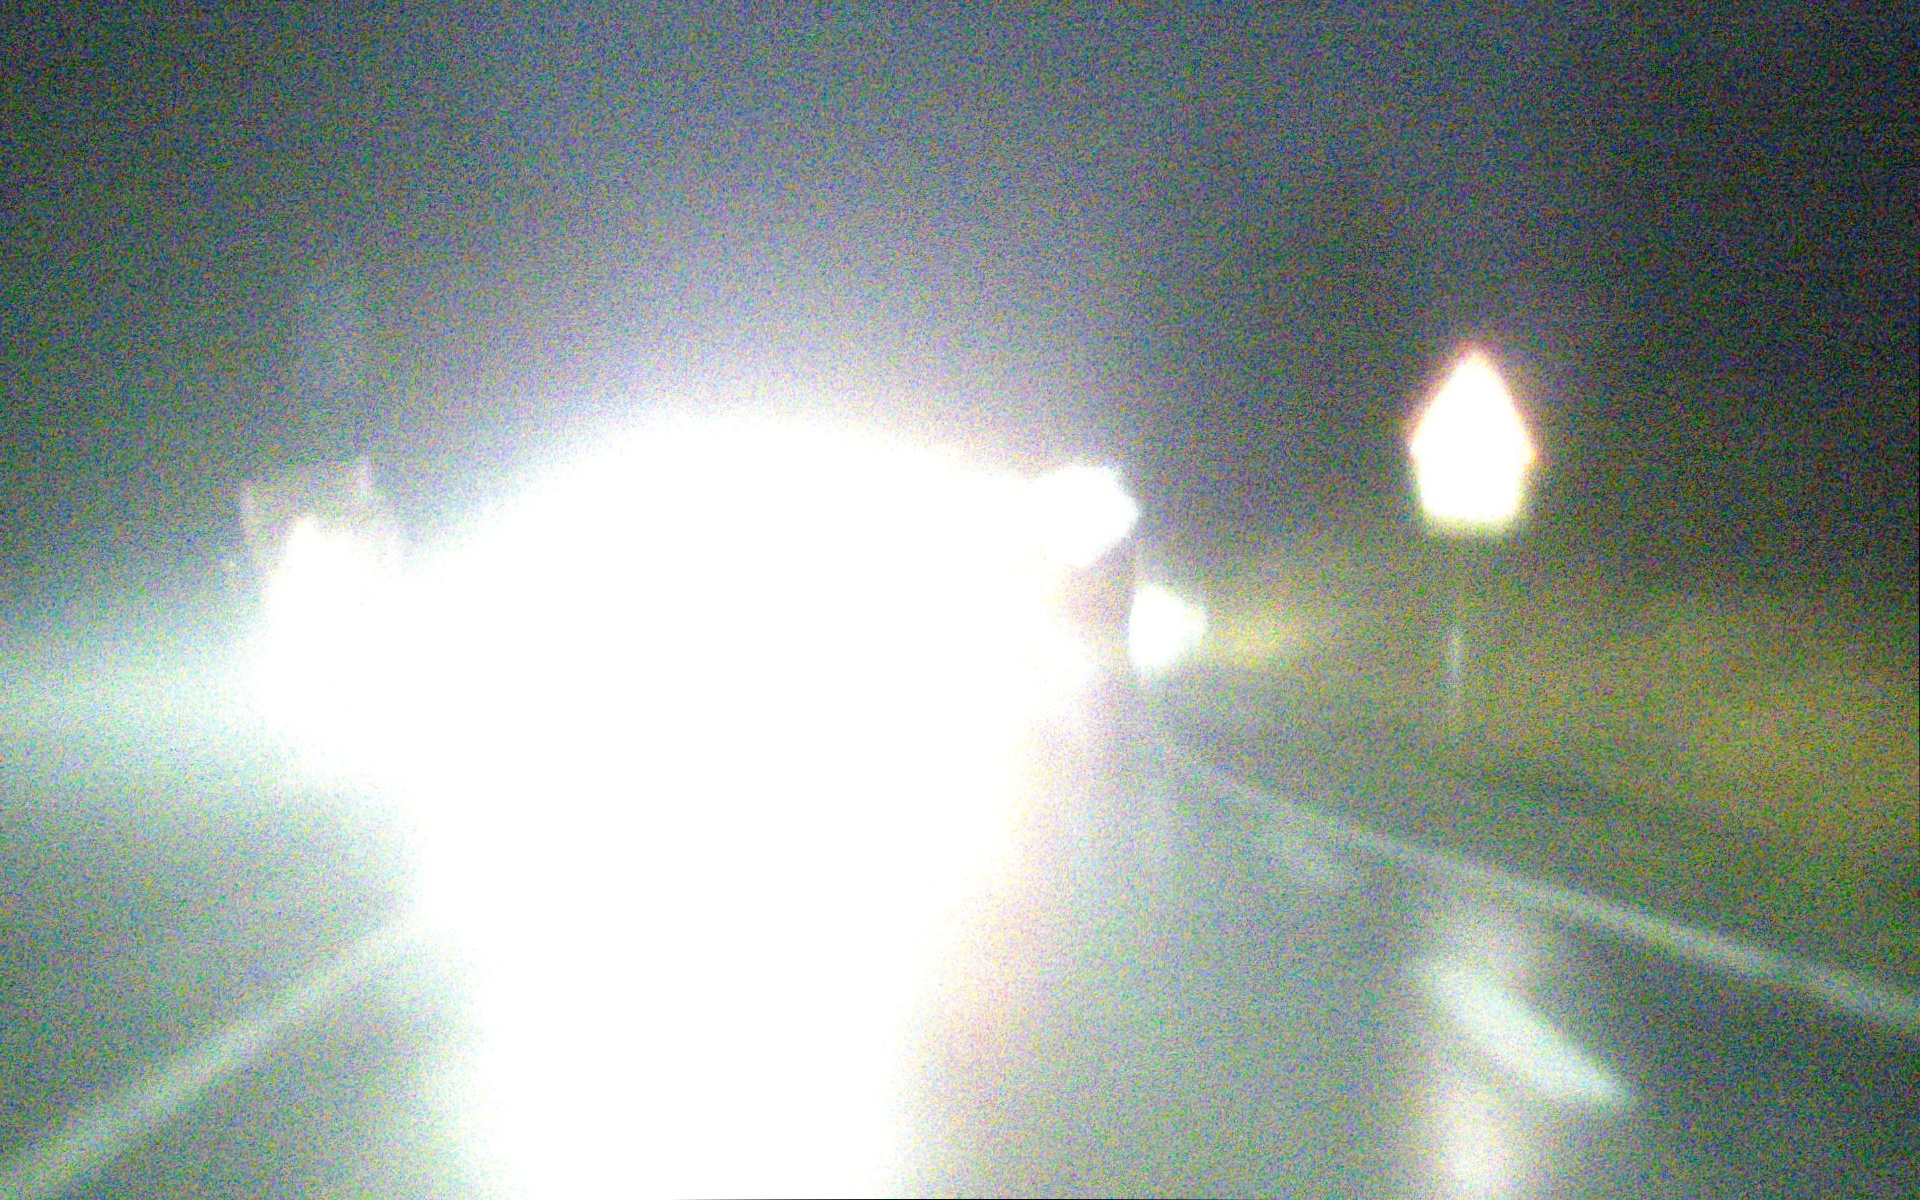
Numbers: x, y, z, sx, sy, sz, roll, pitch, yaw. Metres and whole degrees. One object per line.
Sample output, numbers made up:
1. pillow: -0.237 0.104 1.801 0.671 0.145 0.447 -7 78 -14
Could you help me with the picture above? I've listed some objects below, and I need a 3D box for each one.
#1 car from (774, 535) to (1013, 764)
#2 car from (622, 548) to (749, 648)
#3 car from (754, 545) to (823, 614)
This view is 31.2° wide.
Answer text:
1. car: -0.618 0.401 32.430 2.093 2.007 4.000 1 1 -1
2. car: -4.213 -0.062 52.361 1.746 1.421 3.687 -1 1 -7
3. car: -5.205 -0.638 103.903 1.993 2.007 4.001 1 1 -4
